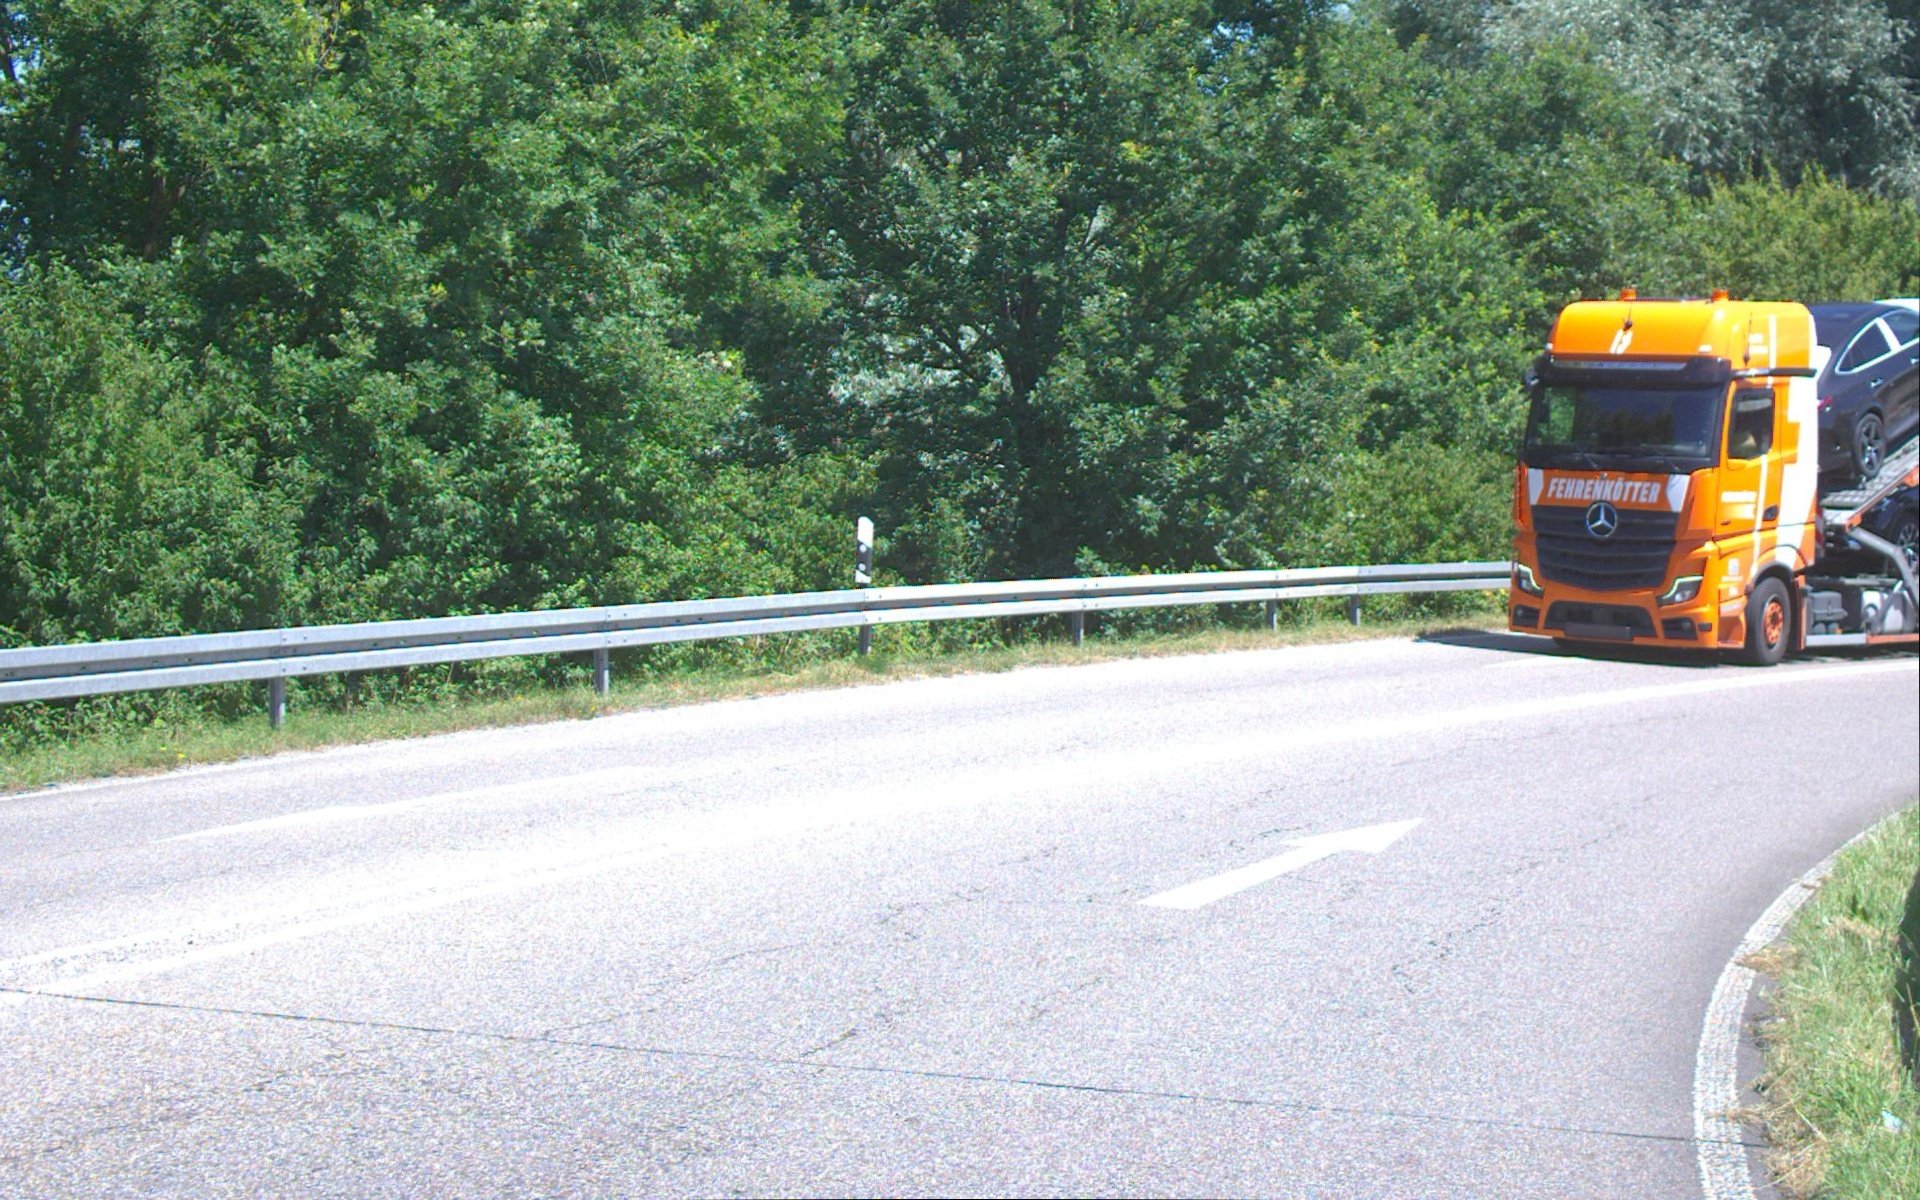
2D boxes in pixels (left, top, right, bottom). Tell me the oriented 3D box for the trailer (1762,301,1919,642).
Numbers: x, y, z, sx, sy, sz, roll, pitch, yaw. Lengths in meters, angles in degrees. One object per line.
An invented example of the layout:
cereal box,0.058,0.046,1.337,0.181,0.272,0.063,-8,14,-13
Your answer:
trailer,15.866,-1.490,44.146,13.945,3.884,2.801,0,3,-40

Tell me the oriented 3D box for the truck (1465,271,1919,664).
truck,9.395,-1.407,38.185,2.797,3.884,8.757,4,3,43
